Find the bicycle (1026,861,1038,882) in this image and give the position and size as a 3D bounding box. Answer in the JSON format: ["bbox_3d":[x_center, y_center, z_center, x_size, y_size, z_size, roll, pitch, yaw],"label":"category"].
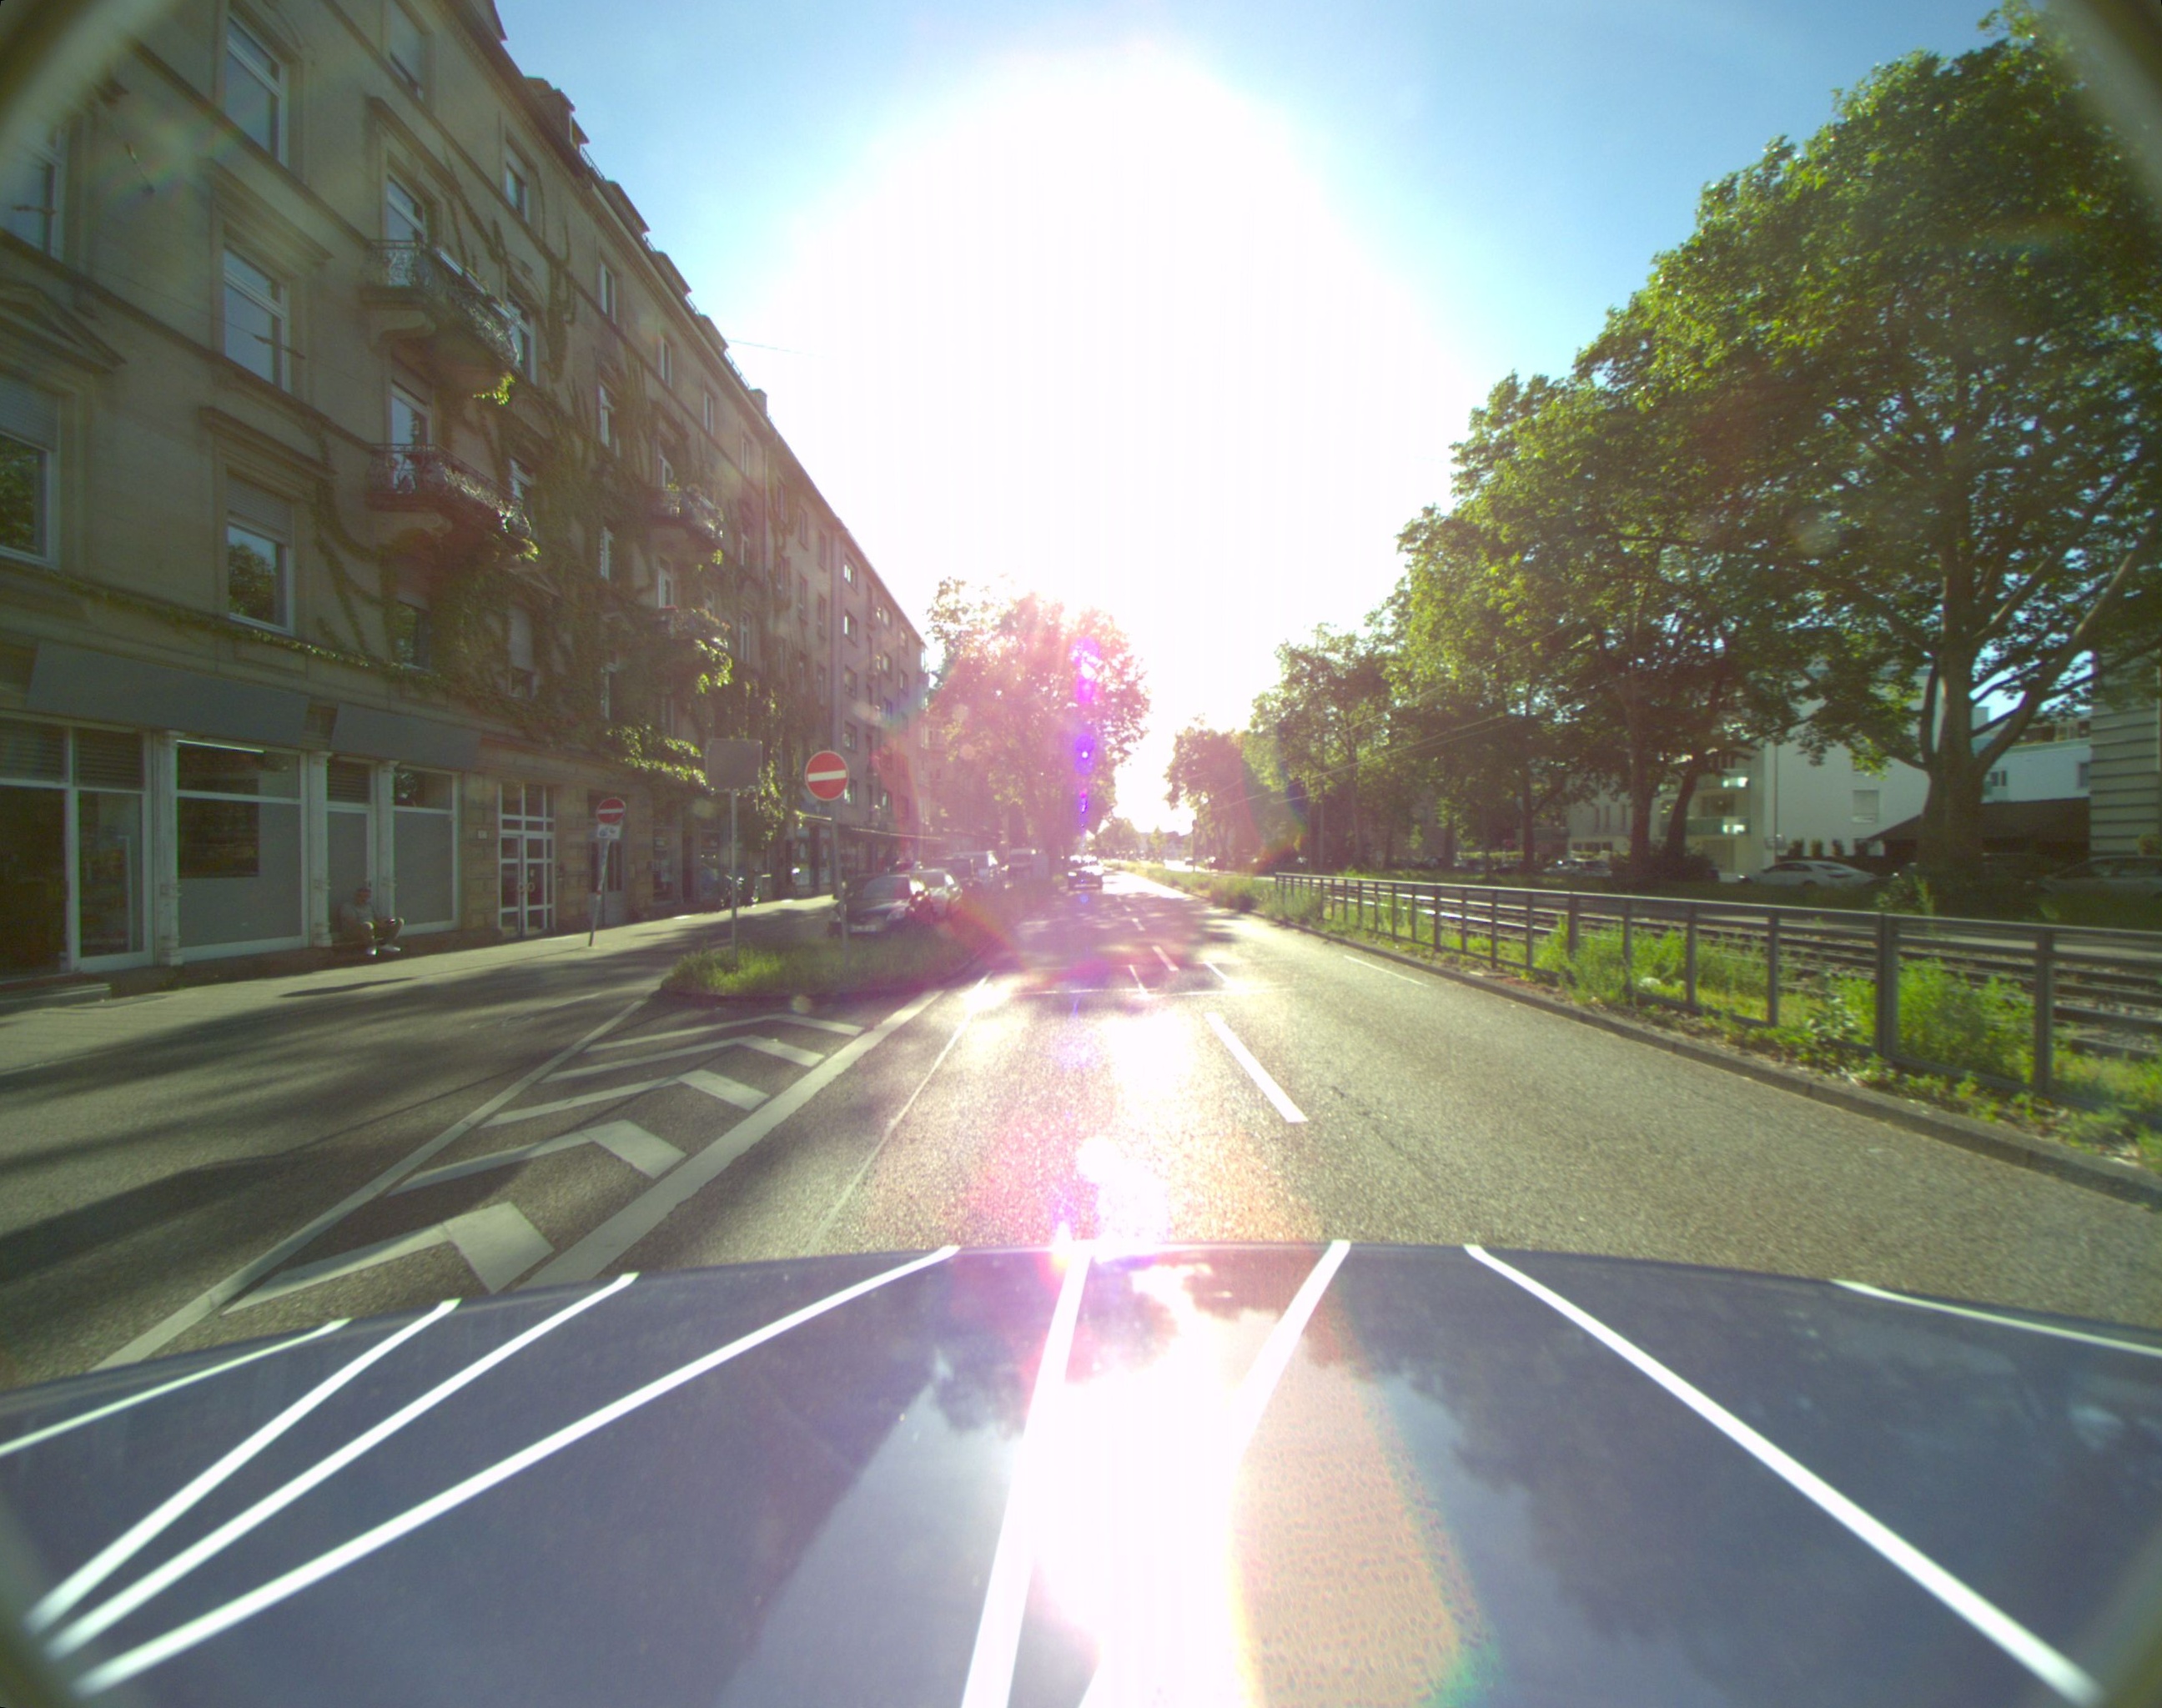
[{"bbox_3d":[-2.997,1.069,46.578,0.466,1.207,1.751,0,0,4],"label":"bicycle"}]

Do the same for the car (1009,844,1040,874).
[{"bbox_3d":[-4.791,0.426,64.956,2.079,2.420,5.856,-1,0,1],"label":"car"}]

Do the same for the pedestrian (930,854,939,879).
[{"bbox_3d":[-10.672,0.888,55.383,0.470,1.822,0.516,-1,0,0],"label":"pedestrian"}]

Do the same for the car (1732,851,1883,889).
[{"bbox_3d":[28.165,0.577,29.688,1.644,1.316,4.461,1,0,1],"label":"car"}]

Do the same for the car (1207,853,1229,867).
[{"bbox_3d":[17.057,0.740,95.014,1.862,1.638,4.460,0,0,-1],"label":"car"}]

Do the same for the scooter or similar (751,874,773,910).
[{"bbox_3d":[-11.074,1.286,26.346,0.638,1.167,1.731,0,0,-24],"label":"scooter or similar"}]

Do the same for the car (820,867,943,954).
[{"bbox_3d":[-4.225,1.126,16.697,1.645,1.508,3.999,-3,0,-1],"label":"car"}]

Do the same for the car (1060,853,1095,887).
[{"bbox_3d":[-0.134,0.838,42.817,1.876,1.788,4.633,0,0,1],"label":"car"}]

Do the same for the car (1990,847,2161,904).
[{"bbox_3d":[28.193,0.538,20.686,1.740,1.432,4.319,0,0,1],"label":"car"}]

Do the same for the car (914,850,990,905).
[{"bbox_3d":[-4.378,0.761,26.374,1.869,1.753,4.000,0,0,1],"label":"car"}]

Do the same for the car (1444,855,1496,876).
[{"bbox_3d":[28.302,0.835,55.473,1.801,1.464,4.000,0,0,1],"label":"car"}]

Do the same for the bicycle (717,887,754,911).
[{"bbox_3d":[-11.257,1.458,24.792,0.469,0.702,1.513,-1,0,1],"label":"bicycle"}]

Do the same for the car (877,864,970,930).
[{"bbox_3d":[-4.264,1.100,21.147,1.743,1.508,3.999,-3,0,-1],"label":"car"}]

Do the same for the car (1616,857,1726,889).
[{"bbox_3d":[28.243,0.876,36.569,1.998,1.444,4.319,0,0,1],"label":"car"}]

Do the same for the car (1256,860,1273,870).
[{"bbox_3d":[27.717,1.678,114.832,1.771,1.477,3.688,0,0,1],"label":"car"}]

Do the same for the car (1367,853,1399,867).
[{"bbox_3d":[33.247,0.686,83.740,1.998,1.477,4.000,0,0,1],"label":"car"}]

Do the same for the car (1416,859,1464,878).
[{"bbox_3d":[28.474,1.126,60.434,1.998,1.477,4.000,0,0,1],"label":"car"}]

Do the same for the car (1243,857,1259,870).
[{"bbox_3d":[27.706,1.533,124.036,1.998,2.002,4.001,-1,0,5],"label":"car"}]

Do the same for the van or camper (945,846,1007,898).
[{"bbox_3d":[-4.296,0.697,31.745,1.889,2.002,5.094,0,0,0],"label":"van or camper"}]

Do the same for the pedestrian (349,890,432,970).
[{"bbox_3d":[-11.489,1.253,12.657,0.717,1.253,0.713,0,1,0],"label":"pedestrian"}]
